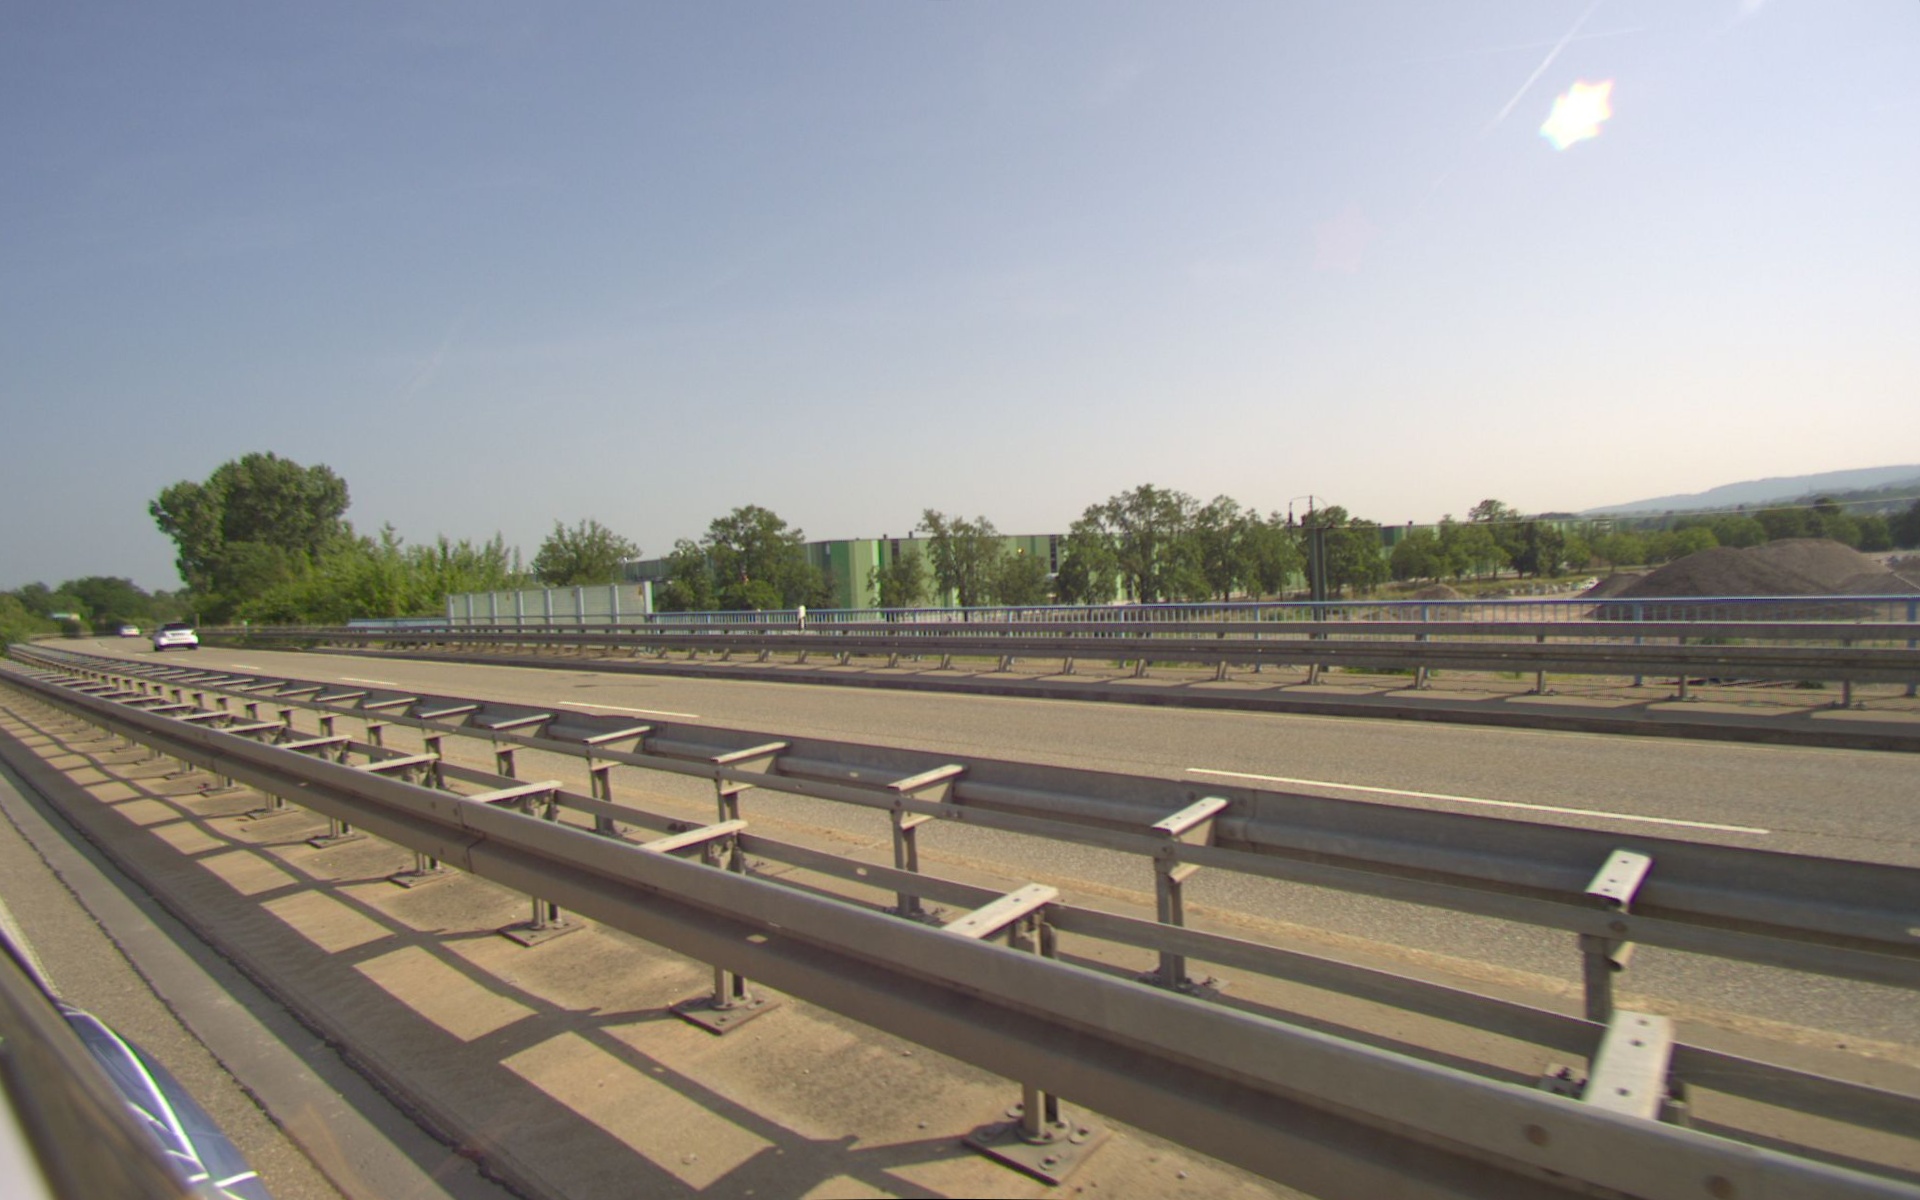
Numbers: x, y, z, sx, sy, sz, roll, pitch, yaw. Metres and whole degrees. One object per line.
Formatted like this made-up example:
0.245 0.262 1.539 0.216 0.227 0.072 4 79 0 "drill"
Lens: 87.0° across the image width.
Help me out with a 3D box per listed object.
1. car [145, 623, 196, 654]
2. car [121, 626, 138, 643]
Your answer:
-42.145 2.018 53.981 1.629 1.514 4.002 -3 1 -45 "car"
-103.577 4.256 126.237 1.624 2.029 3.604 -2 1 -39 "car"
